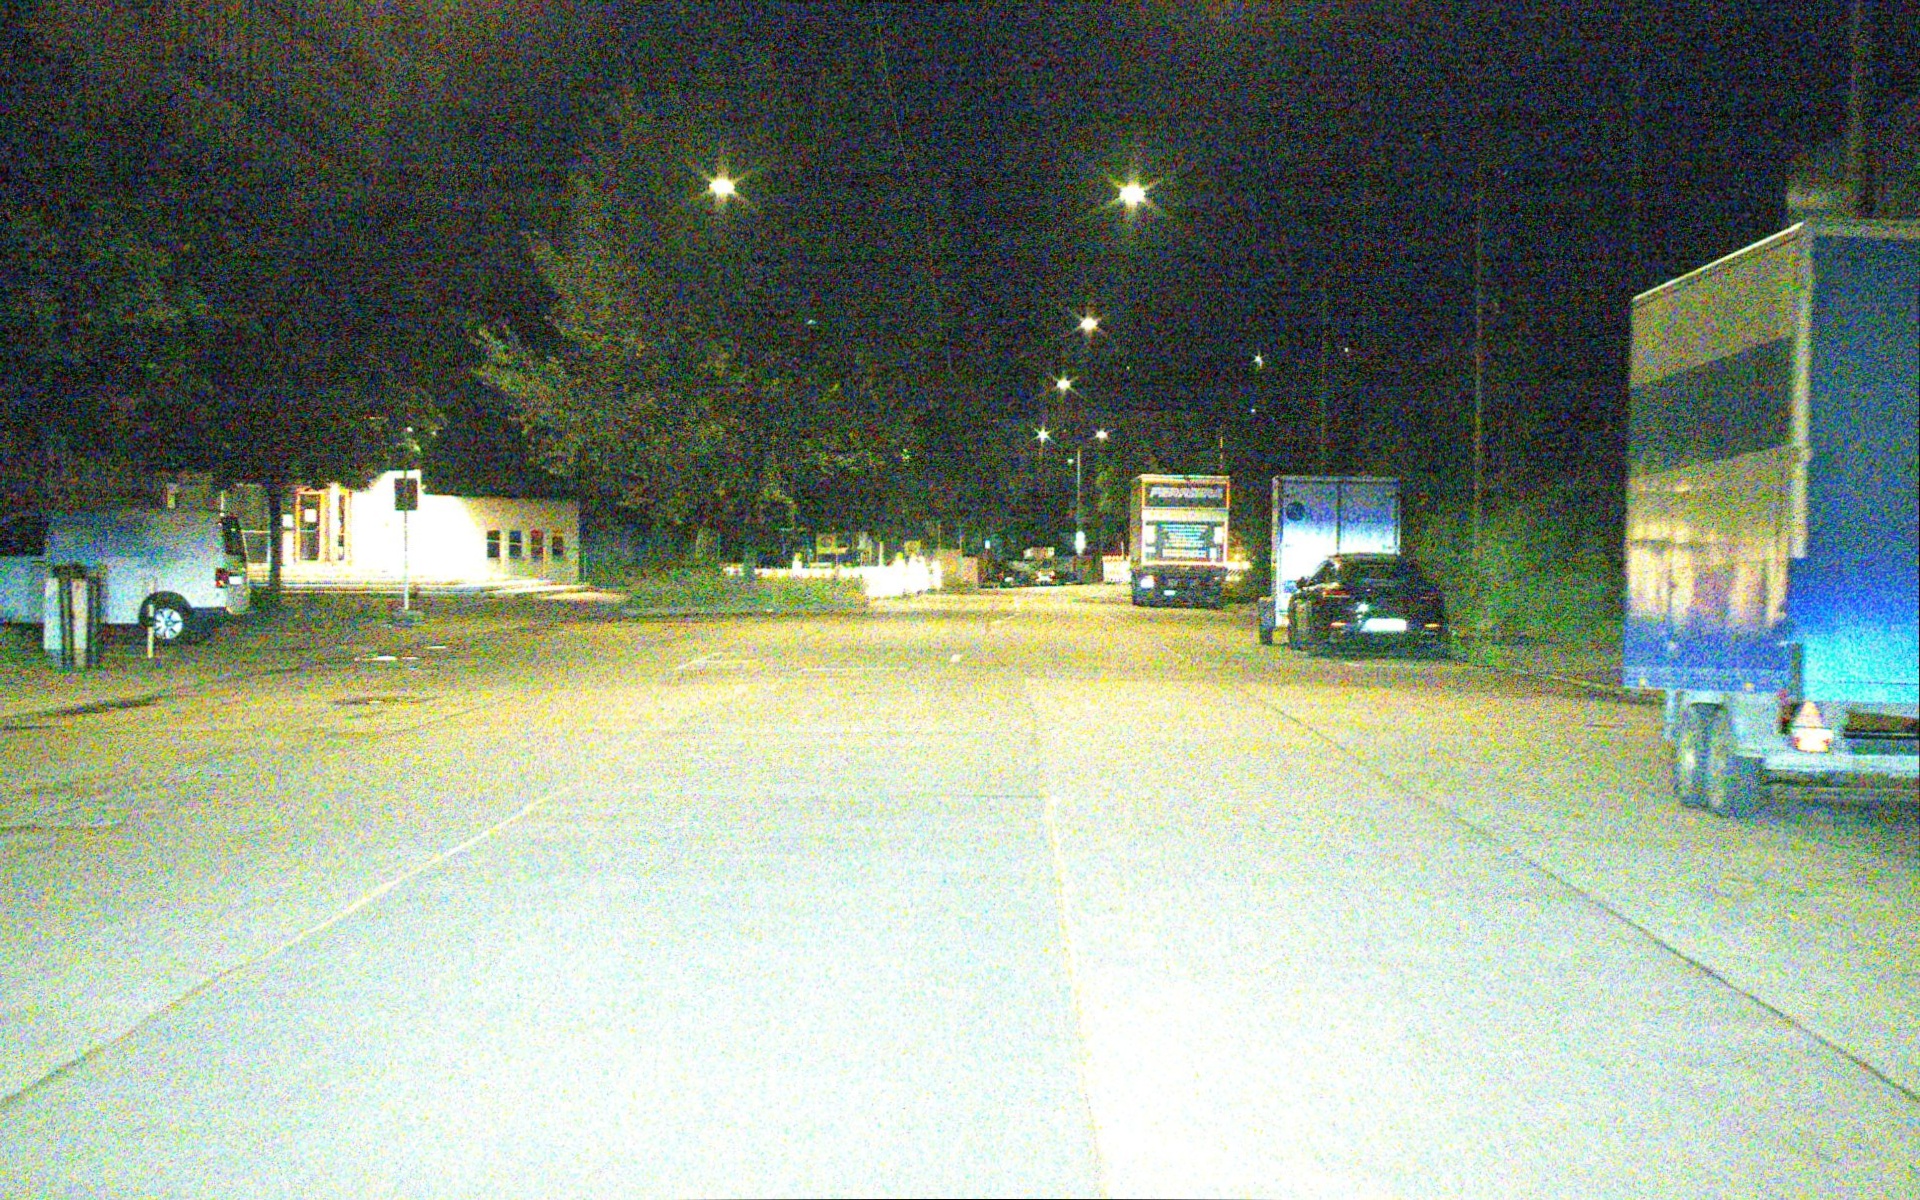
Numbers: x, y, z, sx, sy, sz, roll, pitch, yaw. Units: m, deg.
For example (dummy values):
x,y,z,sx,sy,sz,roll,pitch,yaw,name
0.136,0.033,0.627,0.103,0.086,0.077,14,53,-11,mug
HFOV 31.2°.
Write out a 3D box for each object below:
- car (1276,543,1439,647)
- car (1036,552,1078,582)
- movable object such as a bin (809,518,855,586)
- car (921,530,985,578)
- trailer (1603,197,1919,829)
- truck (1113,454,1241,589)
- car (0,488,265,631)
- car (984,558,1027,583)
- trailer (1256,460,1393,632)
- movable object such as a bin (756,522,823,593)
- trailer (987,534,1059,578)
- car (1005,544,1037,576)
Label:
x,y,z,sx,sy,sz,roll,pitch,yaw,name
5.679,-0.110,49.614,1.726,1.382,4.677,1,1,-1,car
6.368,-2.155,225.178,1.722,1.815,3.997,1,-1,16,car
-5.283,-1.992,141.841,1.570,2.724,3.702,-3,1,-6,movable object such as a bin
-0.453,-3.095,233.161,2.520,3.160,7.133,-1,0,15,car
5.505,-0.484,20.321,2.398,3.314,4.363,1,1,-2,trailer
6.483,-2.306,103.941,3.324,3.855,9.328,1,0,1,truck
-12.556,-0.605,50.012,4.432,1.965,2.000,1,1,1,car
3.308,-2.138,248.782,1.995,1.694,4.203,1,-1,16,car
5.844,-0.882,55.529,1.994,2.642,4.000,1,1,4,trailer
-6.026,-1.483,121.341,1.548,2.459,2.840,-1,0,-20,movable object such as a bin
3.297,-2.321,181.591,1.559,2.153,5.222,-1,0,-26,trailer
3.496,-2.274,196.315,1.721,1.655,4.000,1,-1,2,car
